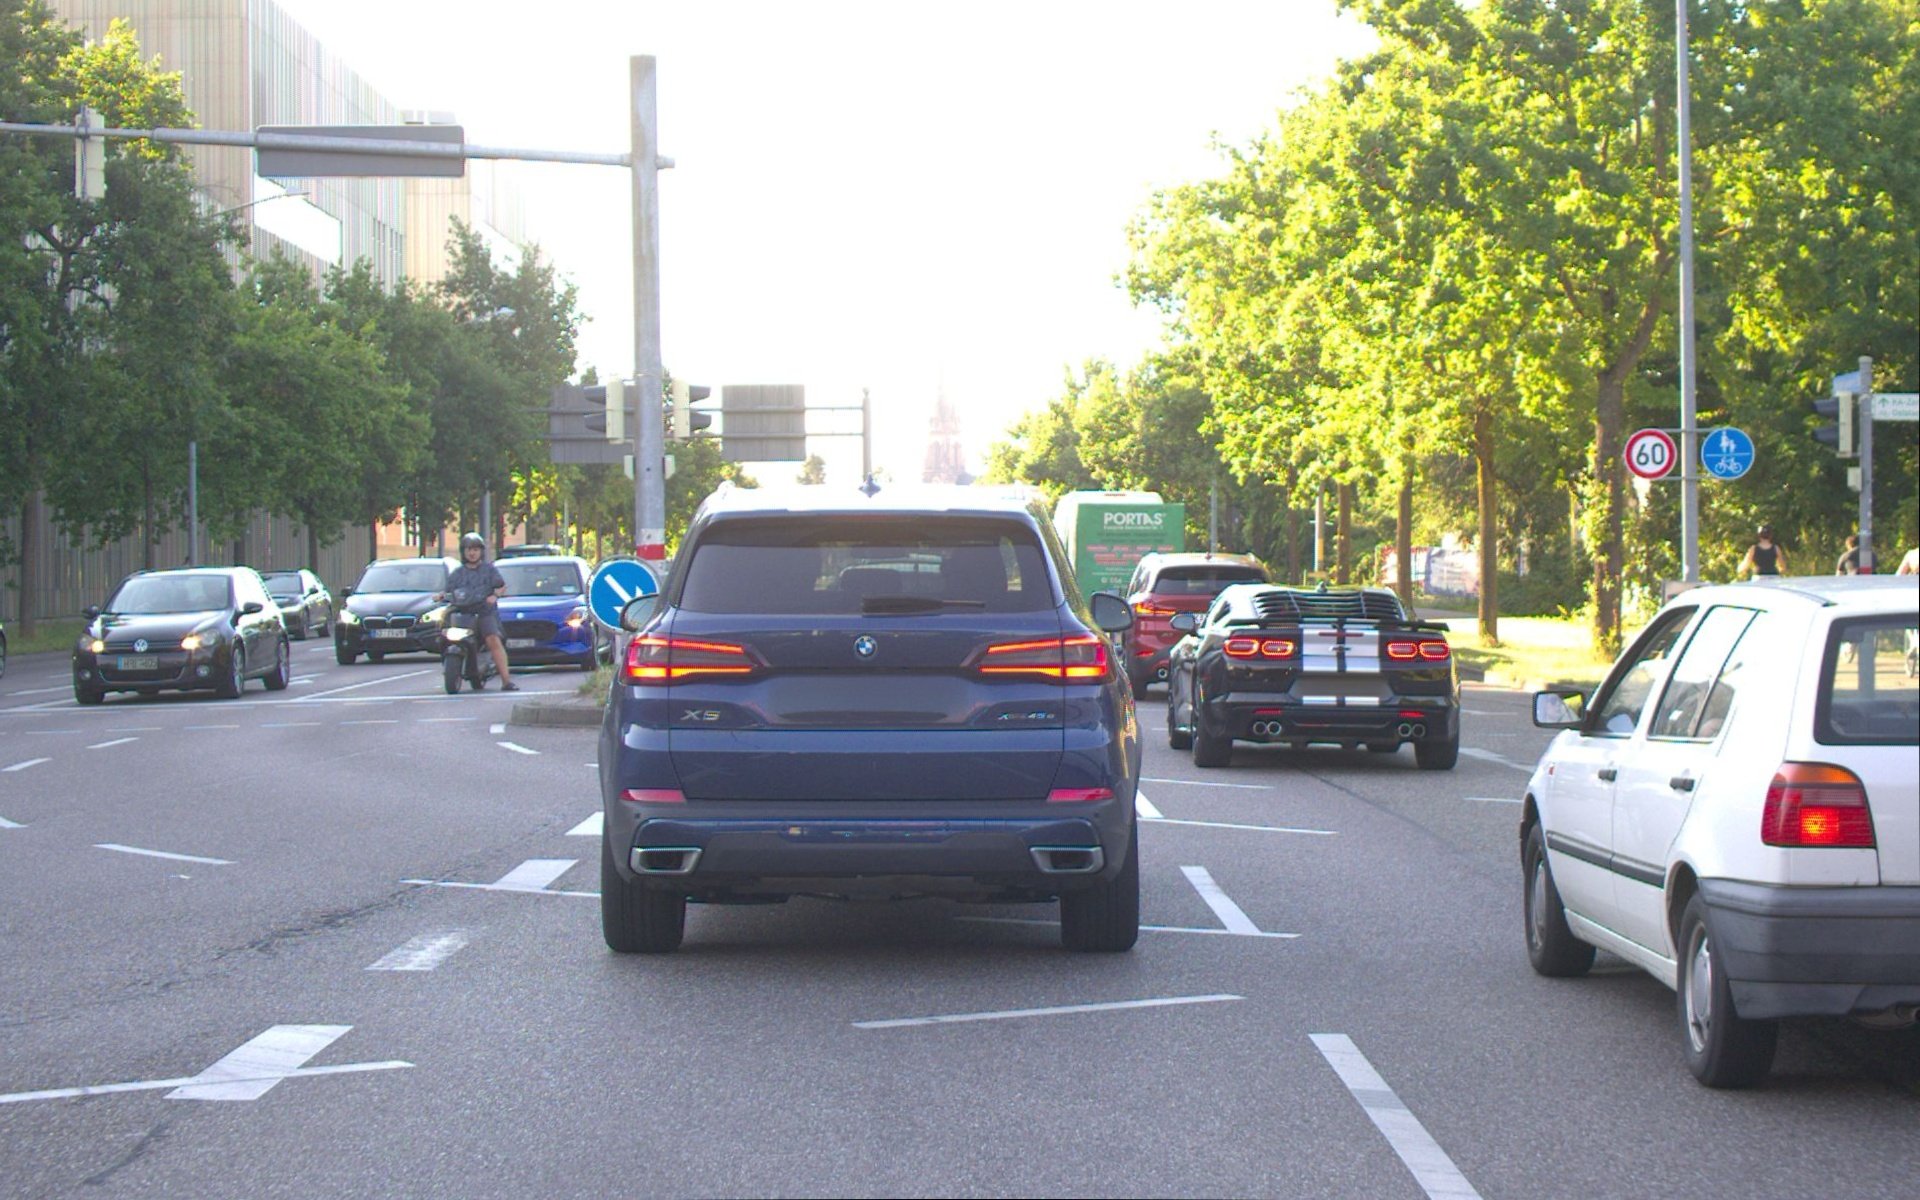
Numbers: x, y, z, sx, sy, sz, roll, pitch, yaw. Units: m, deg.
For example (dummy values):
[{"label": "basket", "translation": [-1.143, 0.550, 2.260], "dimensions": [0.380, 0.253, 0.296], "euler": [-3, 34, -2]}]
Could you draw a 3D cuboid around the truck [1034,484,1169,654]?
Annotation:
[{"label": "truck", "translation": [2.303, -0.487, 56.773], "dimensions": [1.996, 2.659, 4.000], "euler": [1, 0, 0]}]

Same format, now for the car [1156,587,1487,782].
[{"label": "car", "translation": [2.582, 0.589, 25.482], "dimensions": [1.993, 1.290, 4.000], "euler": [1, 0, 0]}]

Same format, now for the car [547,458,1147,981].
[{"label": "car", "translation": [-0.391, 0.417, 13.902], "dimensions": [1.993, 1.728, 4.532], "euler": [1, 0, 0]}]

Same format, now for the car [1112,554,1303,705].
[{"label": "car", "translation": [2.699, 0.326, 38.327], "dimensions": [1.796, 1.553, 4.000], "euler": [1, 0, 0]}]

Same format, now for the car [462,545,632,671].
[{"label": "car", "translation": [-5.290, 0.109, 44.418], "dimensions": [1.702, 1.447, 3.858], "euler": [-4, 0, -1]}]

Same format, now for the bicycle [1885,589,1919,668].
[{"label": "bicycle", "translation": [11.210, 0.331, 40.267], "dimensions": [0.437, 0.911, 1.026], "euler": [-2, 0, 0]}]

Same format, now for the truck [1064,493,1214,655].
[{"label": "truck", "translation": [2.667, -0.361, 51.941], "dimensions": [1.996, 2.307, 4.000], "euler": [1, 0, 0]}]

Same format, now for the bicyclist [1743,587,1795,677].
[{"label": "bicyclist", "translation": [11.924, 0.474, 50.687], "dimensions": [0.543, 1.311, 0.835], "euler": [1, 0, 0]}]

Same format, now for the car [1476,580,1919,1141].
[{"label": "car", "translation": [2.756, 0.683, 10.738], "dimensions": [1.578, 1.408, 4.062], "euler": [1, 0, -1]}]

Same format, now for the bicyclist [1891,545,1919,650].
[{"label": "bicyclist", "translation": [11.216, -0.028, 40.382], "dimensions": [0.427, 1.229, 0.460], "euler": [0, -1, 0]}]

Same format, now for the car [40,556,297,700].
[{"label": "car", "translation": [-8.815, 0.314, 38.618], "dimensions": [1.993, 1.470, 4.080], "euler": [2, 0, -1]}]

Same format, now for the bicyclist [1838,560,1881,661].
[{"label": "bicyclist", "translation": [11.766, 0.134, 44.977], "dimensions": [0.427, 1.304, 0.460], "euler": [1, -1, 0]}]

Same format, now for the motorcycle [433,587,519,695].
[{"label": "motorcycle", "translation": [-5.216, 0.426, 37.151], "dimensions": [0.839, 1.072, 2.401], "euler": [-2, 1, -7]}]

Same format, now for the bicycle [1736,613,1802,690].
[{"label": "bicycle", "translation": [11.920, 0.748, 50.661], "dimensions": [0.564, 1.108, 1.621], "euler": [1, 0, 0]}]

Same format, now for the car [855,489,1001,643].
[{"label": "car", "translation": [-0.618, -0.570, 61.145], "dimensions": [2.136, 2.567, 5.088], "euler": [1, 0, -5]}]

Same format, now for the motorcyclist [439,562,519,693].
[{"label": "motorcyclist", "translation": [-5.200, 0.285, 37.236], "dimensions": [0.797, 1.345, 1.275], "euler": [-2, 2, -7]}]

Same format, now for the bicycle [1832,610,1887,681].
[{"label": "bicycle", "translation": [11.759, 0.592, 44.956], "dimensions": [0.437, 0.911, 1.026], "euler": [1, 0, 0]}]

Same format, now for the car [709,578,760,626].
[{"label": "car", "translation": [-9.008, 0.095, 137.634], "dimensions": [1.756, 1.771, 4.494], "euler": [-4, 0, -1]}]

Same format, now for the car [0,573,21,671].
[{"label": "car", "translation": [-14.660, 0.368, 47.873], "dimensions": [1.993, 1.396, 4.349], "euler": [-4, 0, -1]}]

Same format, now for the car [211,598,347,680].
[{"label": "car", "translation": [-14.502, 0.815, 73.407], "dimensions": [1.993, 1.586, 4.715], "euler": [-4, 0, -1]}]

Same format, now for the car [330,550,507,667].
[{"label": "car", "translation": [-8.240, 0.140, 52.689], "dimensions": [1.993, 1.586, 4.715], "euler": [-4, 0, -1]}]
